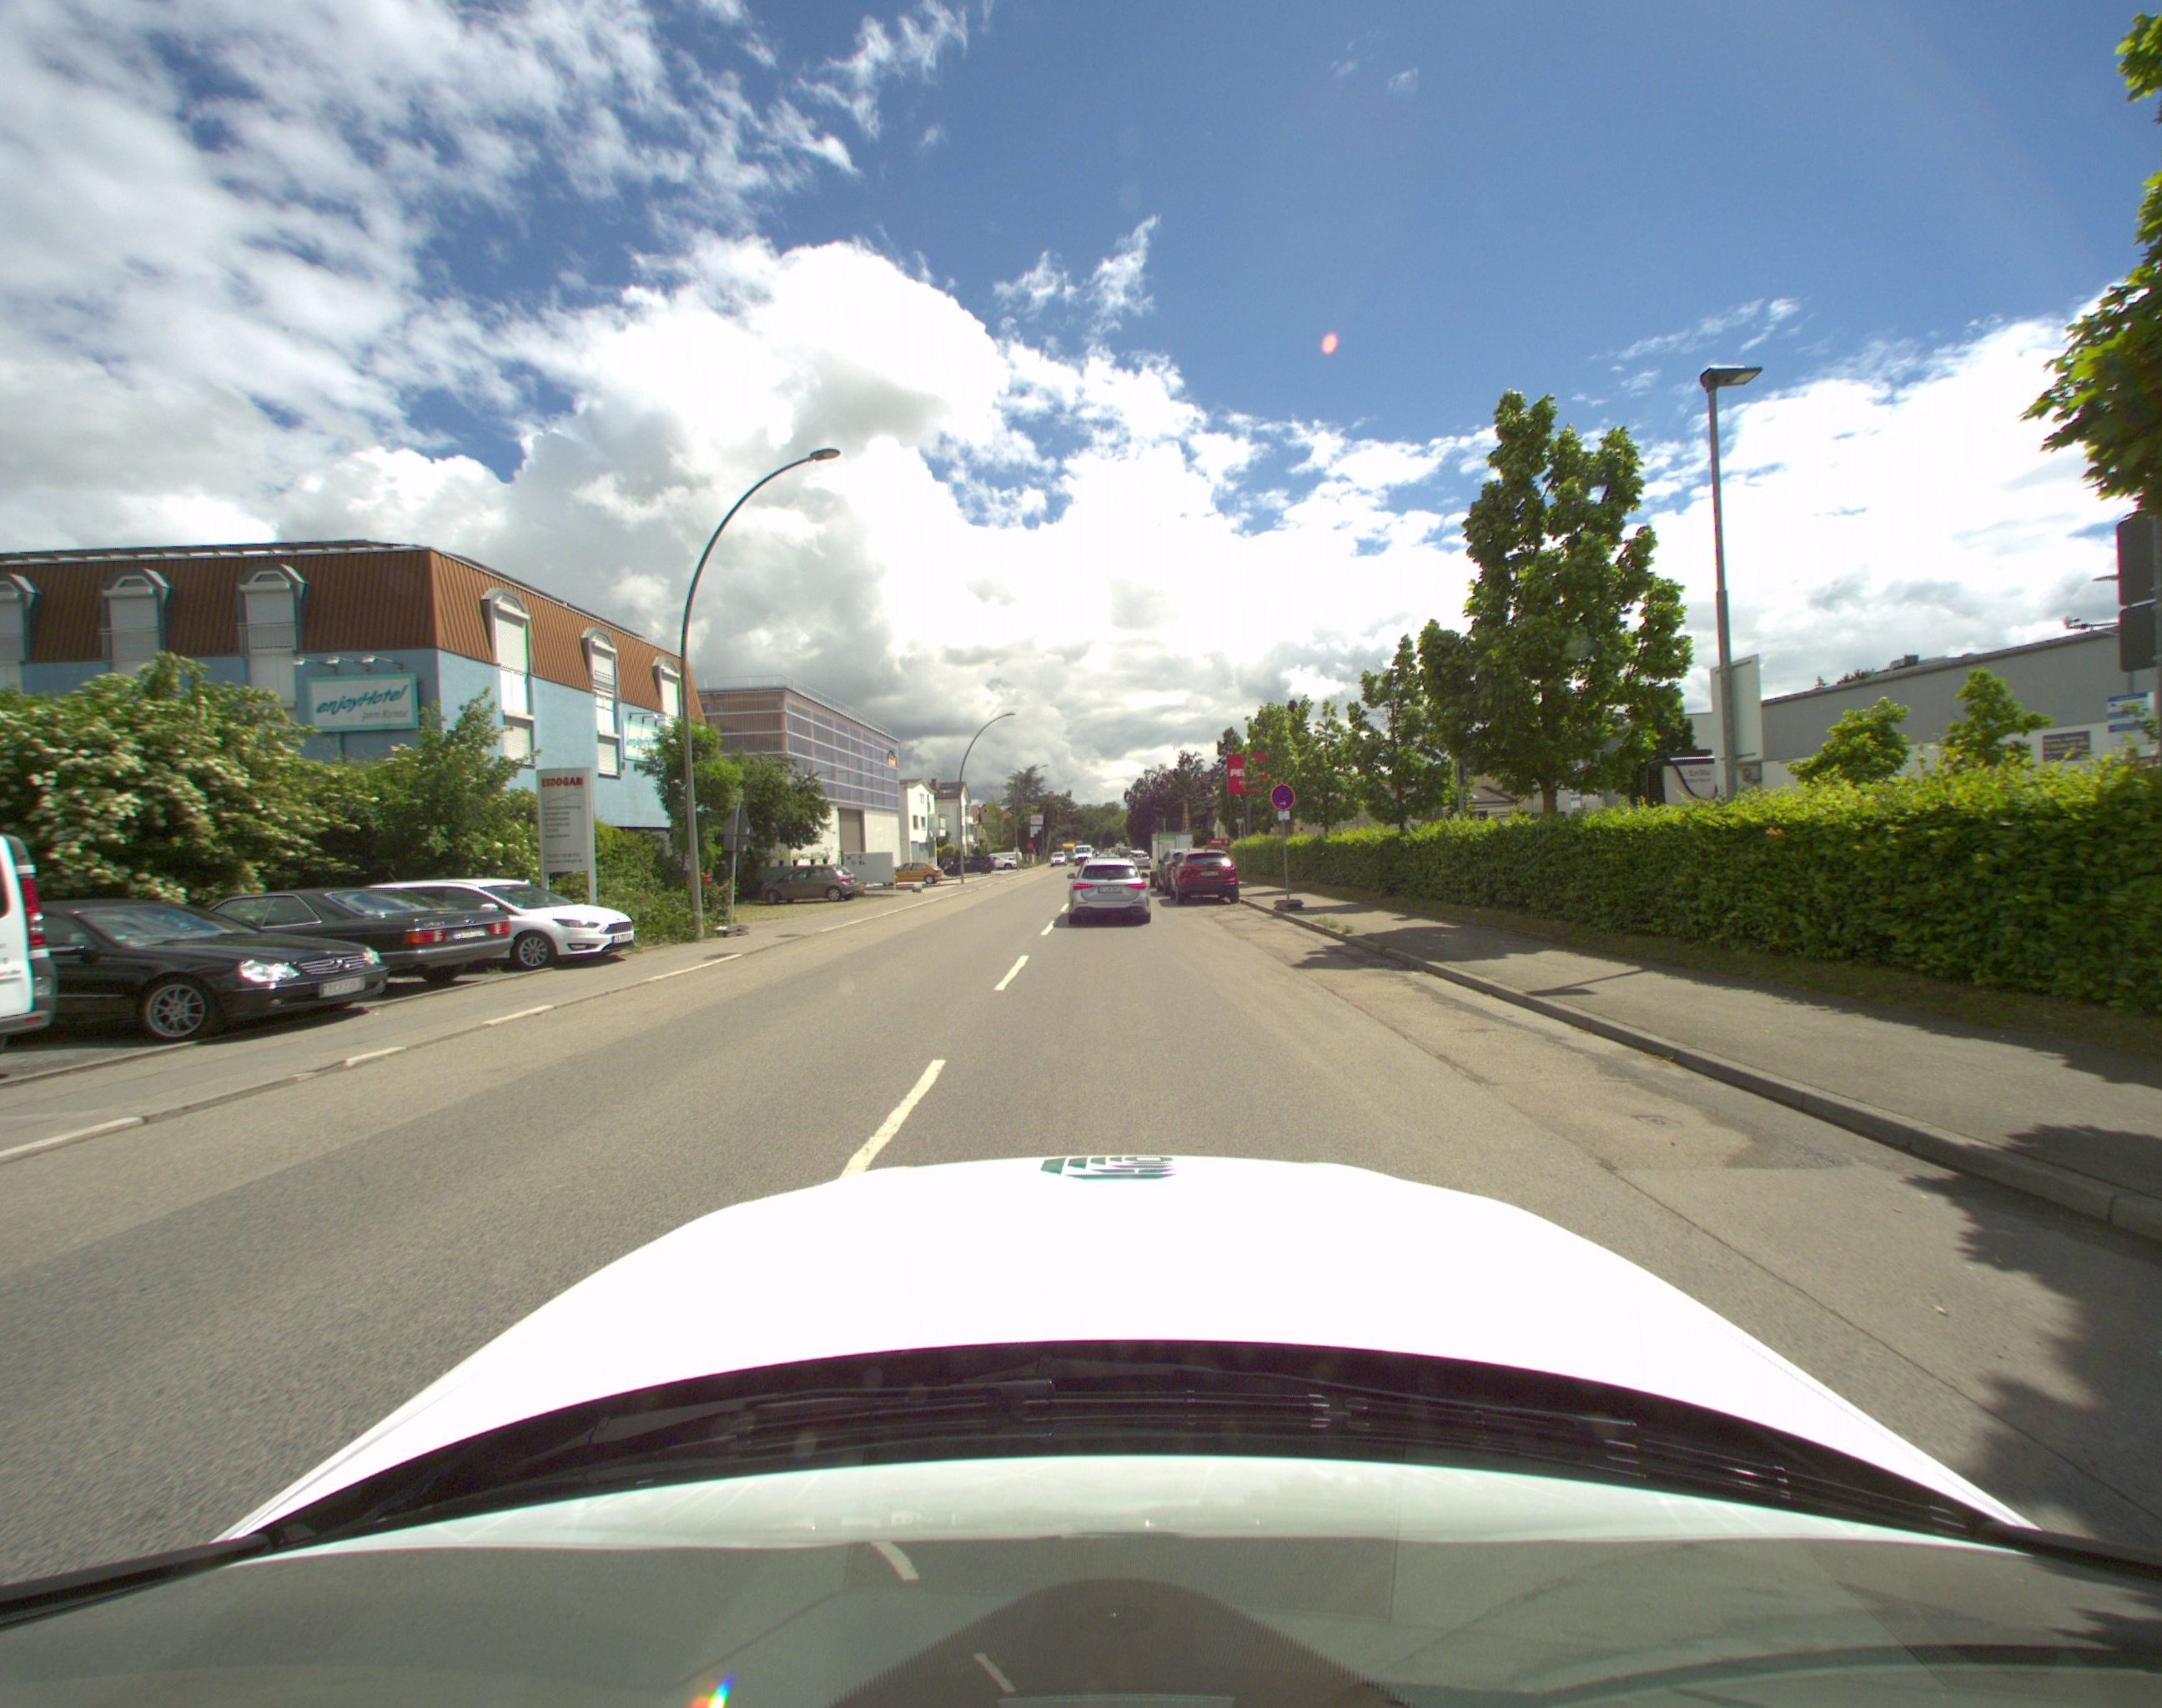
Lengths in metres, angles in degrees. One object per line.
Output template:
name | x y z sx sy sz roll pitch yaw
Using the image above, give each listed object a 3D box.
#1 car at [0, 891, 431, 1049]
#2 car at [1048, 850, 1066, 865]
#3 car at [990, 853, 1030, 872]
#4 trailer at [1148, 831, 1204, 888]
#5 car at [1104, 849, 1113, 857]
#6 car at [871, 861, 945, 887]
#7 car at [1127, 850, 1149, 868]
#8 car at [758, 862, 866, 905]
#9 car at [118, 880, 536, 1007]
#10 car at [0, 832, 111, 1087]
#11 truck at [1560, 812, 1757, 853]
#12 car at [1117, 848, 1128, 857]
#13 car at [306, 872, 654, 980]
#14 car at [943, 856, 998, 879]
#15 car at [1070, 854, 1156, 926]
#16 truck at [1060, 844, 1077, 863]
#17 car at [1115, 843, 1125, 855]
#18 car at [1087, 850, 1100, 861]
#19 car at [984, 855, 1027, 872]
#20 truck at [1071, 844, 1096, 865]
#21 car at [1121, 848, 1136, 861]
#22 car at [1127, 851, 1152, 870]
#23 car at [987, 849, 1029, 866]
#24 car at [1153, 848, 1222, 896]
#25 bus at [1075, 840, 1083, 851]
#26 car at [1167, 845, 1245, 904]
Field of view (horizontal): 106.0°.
car | -9.681 1.168 8.650 3.974 1.314 1.871 -2 0 0
car | -2.796 0.436 95.828 1.785 1.603 4.365 -3 1 2
car | -7.886 0.993 90.747 4.265 1.836 1.991 -2 -3 0
trailer | 4.172 0.209 36.500 1.935 2.294 4.446 -3 0 0
car | 5.702 -0.306 170.352 1.749 1.558 4.001 -2 1 1
car | -10.504 1.223 49.780 4.139 1.491 1.824 0 1 -2
car | 5.397 0.459 77.873 1.785 1.552 4.574 -3 1 1
car | -10.880 1.194 33.132 3.612 1.532 1.982 -2 1 3
car | -10.017 1.152 11.049 3.969 1.355 1.874 -2 1 4
car | -10.720 0.916 5.886 4.639 1.972 2.114 -2 1 -2
truck | 41.449 -1.538 58.743 11.932 2.864 2.981 0 1 2
car | 7.968 -0.239 156.170 1.779 1.715 4.316 -1 0 0
car | -9.776 1.132 13.501 4.358 1.478 1.872 -2 -1 2
car | -10.083 1.183 74.606 4.615 1.632 2.196 -5 1 -2
car | 0.676 0.754 19.164 1.779 1.484 4.316 -1 0 0
truck | -1.893 -0.137 129.438 2.066 2.814 7.083 -3 1 3
car | 8.006 -1.056 168.543 1.779 2.518 4.316 -1 0 0
car | 2.105 0.201 140.662 1.985 1.733 4.552 -3 1 3
car | -7.926 1.012 85.515 4.263 1.567 1.992 -3 -3 2
truck | 0.328 0.041 92.712 2.309 2.178 6.456 -3 1 4
car | 7.619 0.040 131.071 2.136 1.984 5.264 -3 0 2
car | 5.177 0.566 72.241 1.786 1.450 4.362 -3 1 -1
car | -7.945 0.436 88.505 4.265 1.567 1.991 -2 -3 0
car | 3.864 0.601 30.306 1.935 1.571 4.445 -3 1 0
bus | -0.685 -2.629 255.804 1.989 3.364 6.974 0 1 -3
car | 3.773 0.546 25.290 1.933 1.571 4.450 -3 1 4
